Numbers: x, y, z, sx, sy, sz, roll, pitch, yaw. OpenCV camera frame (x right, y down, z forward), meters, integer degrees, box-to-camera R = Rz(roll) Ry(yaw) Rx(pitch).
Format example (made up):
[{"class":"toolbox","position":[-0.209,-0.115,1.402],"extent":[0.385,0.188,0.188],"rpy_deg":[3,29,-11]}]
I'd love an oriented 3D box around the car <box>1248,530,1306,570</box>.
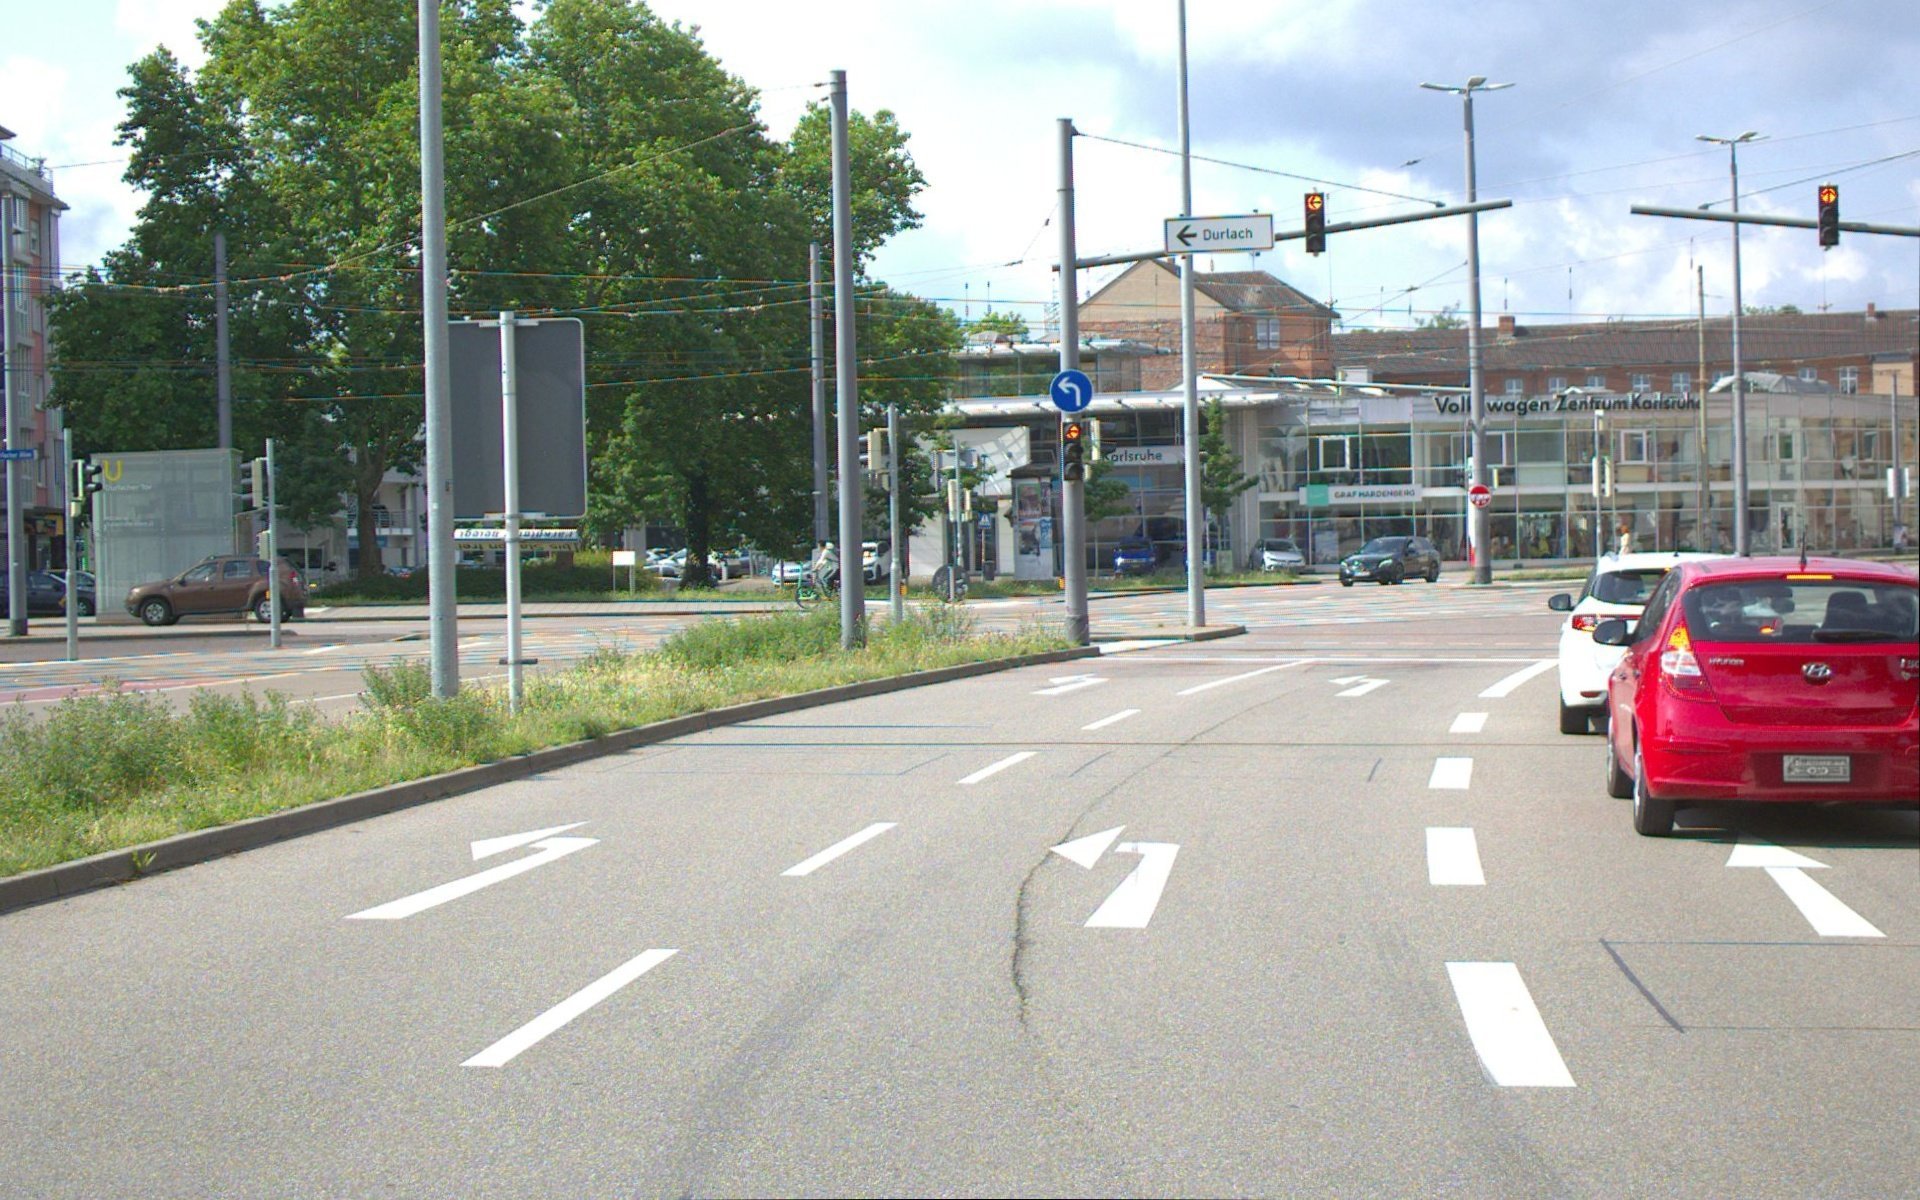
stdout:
[{"class":"car","position":[13.074,-2.058,142.008],"extent":[1.993,1.590,4.000],"rpy_deg":[-1,1,0]}]

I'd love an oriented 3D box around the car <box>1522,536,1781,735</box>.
[{"class":"car","position":[5.616,0.236,28.350],"extent":[1.848,1.467,4.334],"rpy_deg":[-1,1,9]}]

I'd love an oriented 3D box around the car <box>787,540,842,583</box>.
[{"class":"car","position":[-6.166,-1.649,145.984],"extent":[1.798,1.763,3.999],"rpy_deg":[-1,1,5]}]

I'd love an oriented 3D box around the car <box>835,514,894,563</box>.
[{"class":"car","position":[-4.006,-2.585,145.236],"extent":[1.994,2.007,3.999],"rpy_deg":[-1,1,5]}]

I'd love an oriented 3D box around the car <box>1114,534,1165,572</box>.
[{"class":"car","position":[7.424,-1.946,141.997],"extent":[1.994,1.546,4.078],"rpy_deg":[-1,1,4]}]

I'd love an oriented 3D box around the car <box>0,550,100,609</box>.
[{"class":"car","position":[-27.284,-0.589,100.421],"extent":[3.986,1.656,2.001],"rpy_deg":[-1,1,-9]}]

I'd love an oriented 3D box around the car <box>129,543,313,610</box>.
[{"class":"car","position":[-17.620,-0.581,82.135],"extent":[4.067,1.503,1.814],"rpy_deg":[-1,1,-4]}]

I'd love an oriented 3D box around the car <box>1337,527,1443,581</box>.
[{"class":"car","position":[12.982,-1.401,103.580],"extent":[1.996,1.525,3.995],"rpy_deg":[-1,1,25]}]

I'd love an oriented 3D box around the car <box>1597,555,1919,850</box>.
[{"class":"car","position":[4.539,0.483,19.169],"extent":[1.817,1.434,4.066],"rpy_deg":[0,1,9]}]

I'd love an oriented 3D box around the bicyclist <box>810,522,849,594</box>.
[{"class":"bicyclist","position":[-3.432,-1.113,90.412],"extent":[0.885,1.864,0.764],"rpy_deg":[-1,1,-10]}]

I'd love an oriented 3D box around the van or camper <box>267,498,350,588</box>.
[{"class":"van or camper","position":[-21.881,-1.918,115.284],"extent":[2.580,2.898,6.101],"rpy_deg":[-1,1,-11]}]

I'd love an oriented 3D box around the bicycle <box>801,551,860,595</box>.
[{"class":"bicycle","position":[-3.407,-0.713,90.452],"extent":[1.464,1.113,0.587],"rpy_deg":[-1,1,-10]}]
